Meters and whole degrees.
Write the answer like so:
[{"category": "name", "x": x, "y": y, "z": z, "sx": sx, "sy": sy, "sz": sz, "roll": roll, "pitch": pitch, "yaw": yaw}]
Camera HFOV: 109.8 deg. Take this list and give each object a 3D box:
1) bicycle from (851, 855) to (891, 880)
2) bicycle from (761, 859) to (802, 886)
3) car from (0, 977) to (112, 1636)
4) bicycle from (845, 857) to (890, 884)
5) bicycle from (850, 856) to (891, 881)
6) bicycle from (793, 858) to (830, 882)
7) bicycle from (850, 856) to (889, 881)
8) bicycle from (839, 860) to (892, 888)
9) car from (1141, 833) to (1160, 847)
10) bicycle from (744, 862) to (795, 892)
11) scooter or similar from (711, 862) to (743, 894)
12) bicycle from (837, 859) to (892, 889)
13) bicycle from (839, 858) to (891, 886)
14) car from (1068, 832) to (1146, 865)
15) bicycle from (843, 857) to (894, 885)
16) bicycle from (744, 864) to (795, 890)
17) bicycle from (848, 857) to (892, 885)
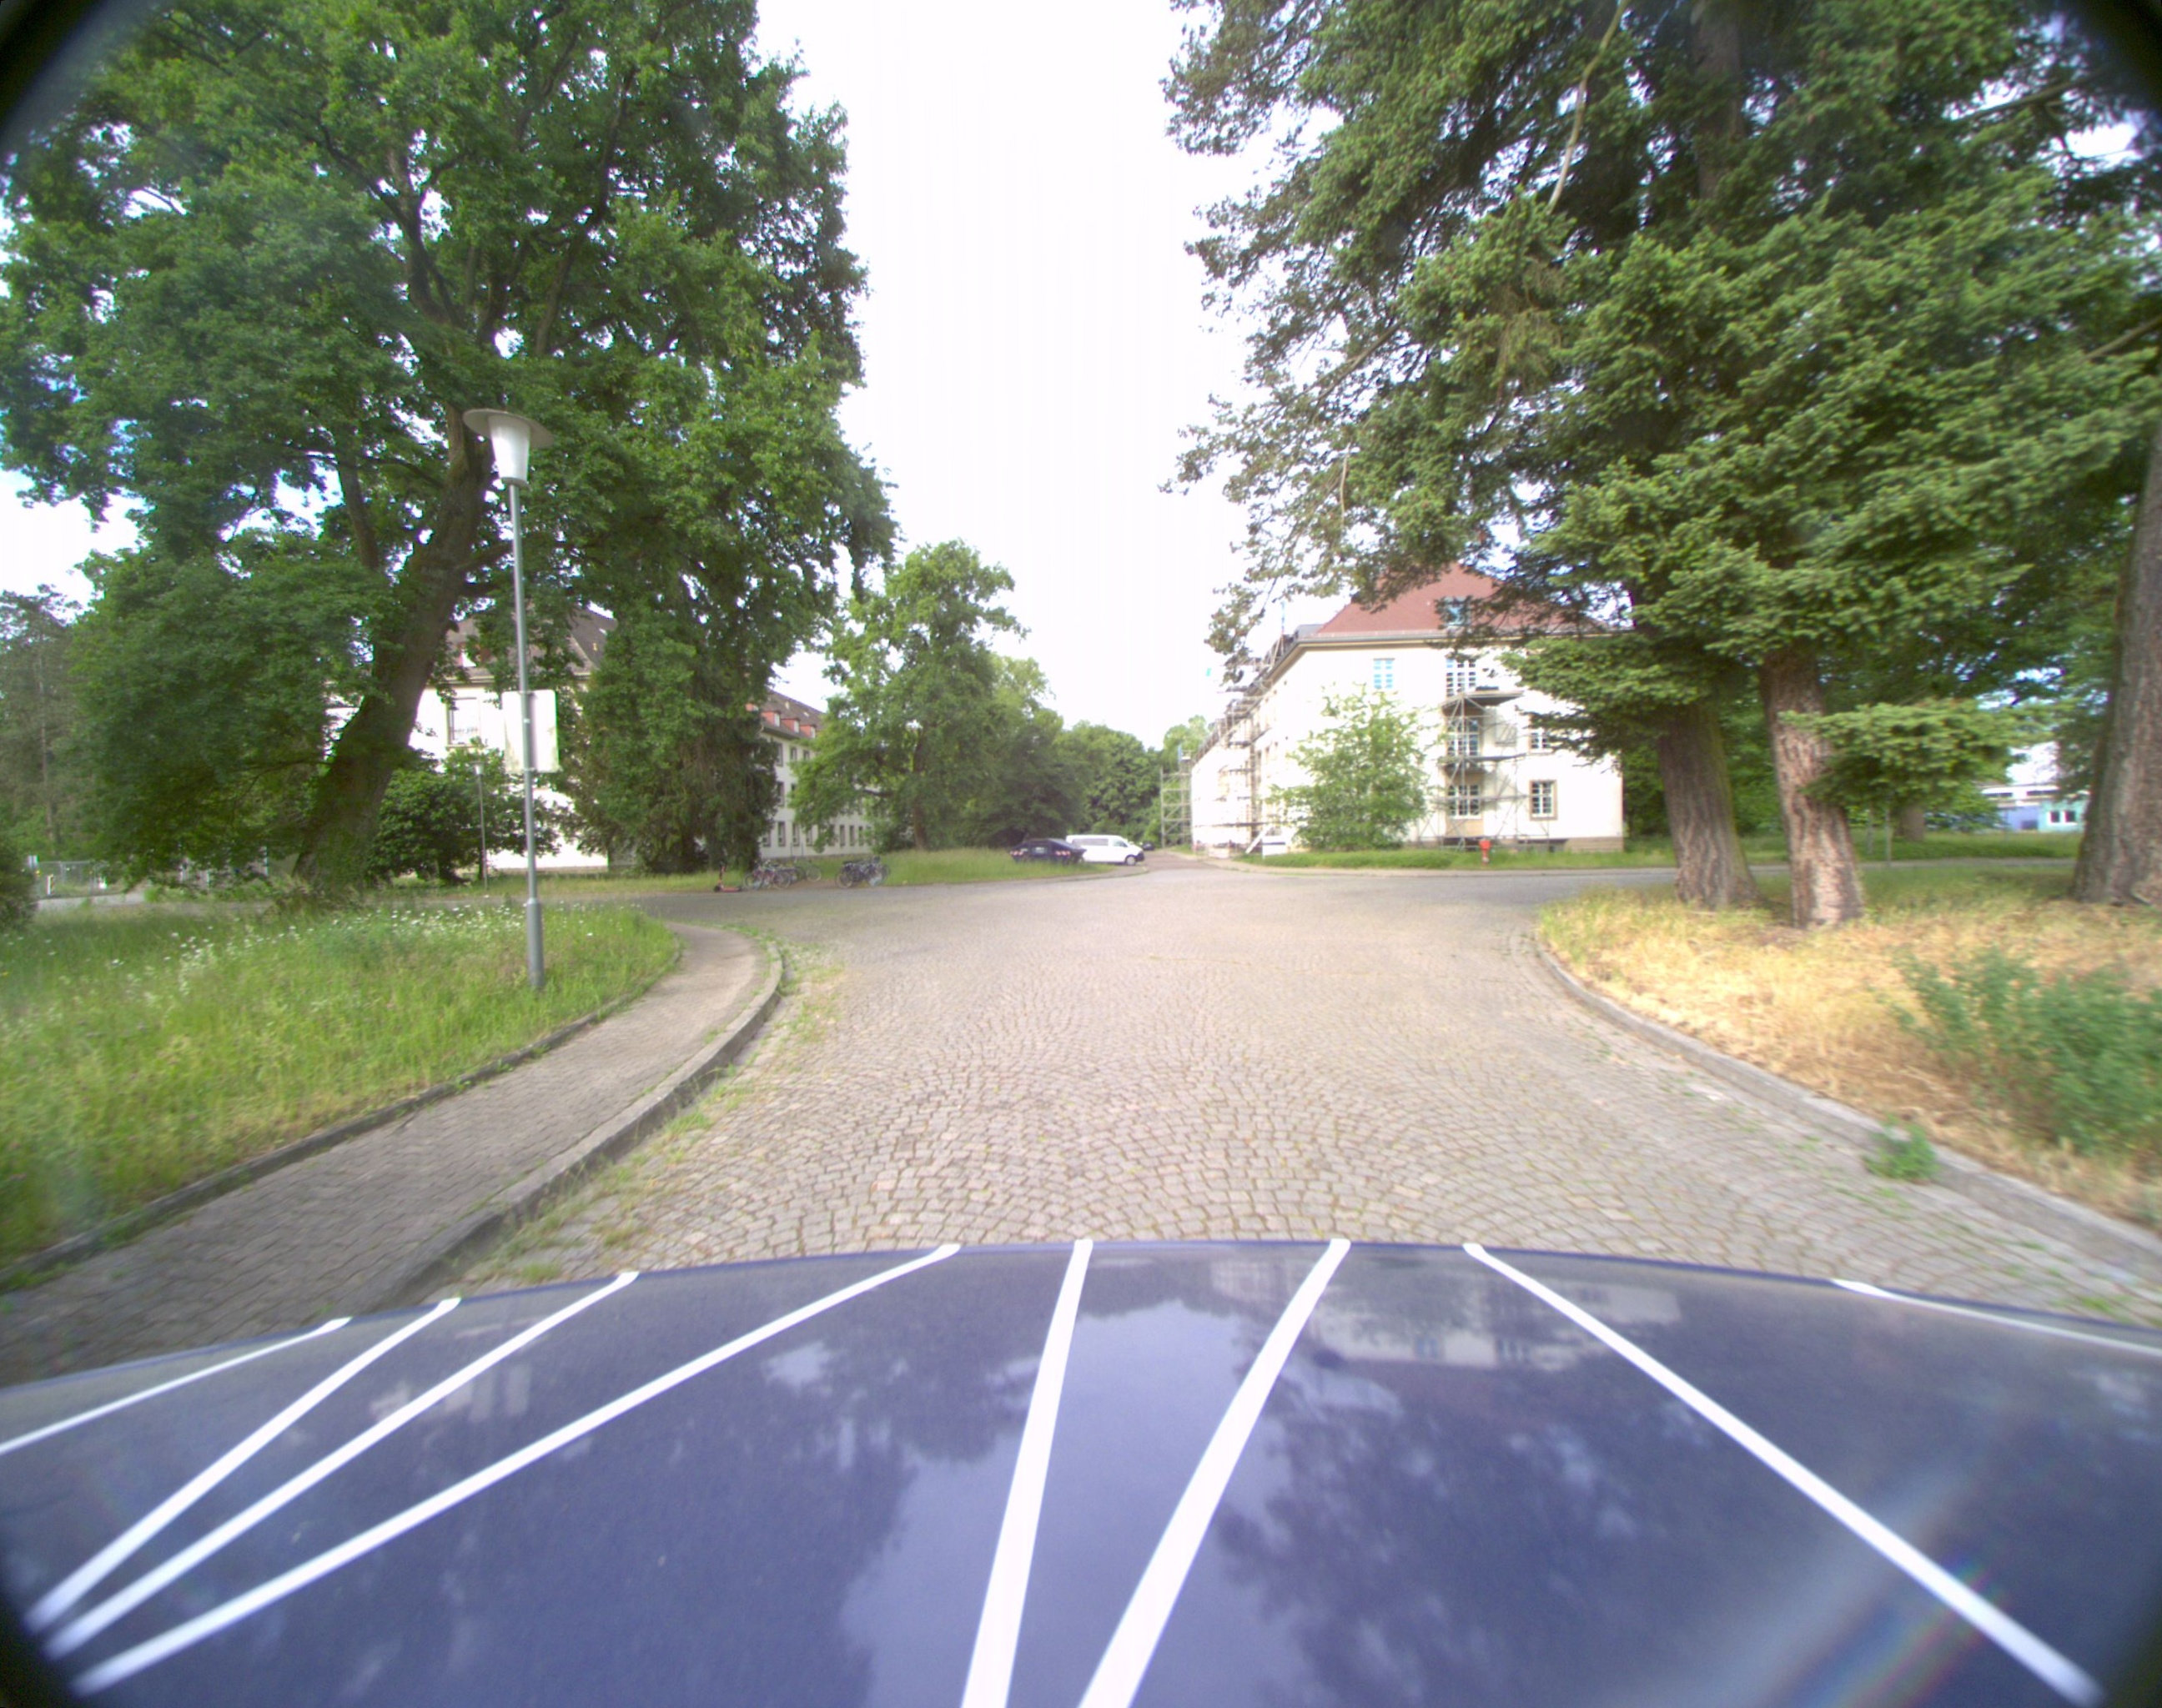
[{"category": "bicycle", "x": -10.210, "y": 0.649, "z": 36.999, "sx": 1.827, "sy": 1.082, "sz": 0.552, "roll": -2, "pitch": 4, "yaw": -19}, {"category": "bicycle", "x": -12.836, "y": 0.787, "z": 32.586, "sx": 1.568, "sy": 1.082, "sz": 0.561, "roll": -2, "pitch": 2, "yaw": -28}, {"category": "car", "x": -4.773, "y": 1.057, "z": 1.181, "sx": 4.514, "sy": 1.456, "sz": 1.896, "roll": 0, "pitch": 1, "yaw": 6}, {"category": "bicycle", "x": -9.441, "y": 0.715, "z": 33.613, "sx": 1.867, "sy": 1.082, "sz": 0.519, "roll": -2, "pitch": 4, "yaw": -19}, {"category": "bicycle", "x": -9.835, "y": 0.679, "z": 35.475, "sx": 1.809, "sy": 1.082, "sz": 0.552, "roll": -2, "pitch": 4, "yaw": -19}, {"category": "bicycle", "x": -12.388, "y": 0.719, "z": 34.983, "sx": 1.567, "sy": 1.028, "sz": 0.475, "roll": -2, "pitch": 2, "yaw": -21}, {"category": "bicycle", "x": -10.083, "y": 0.668, "z": 36.215, "sx": 1.752, "sy": 1.082, "sz": 0.552, "roll": -2, "pitch": 4, "yaw": -19}, {"category": "bicycle", "x": -8.602, "y": 0.781, "z": 30.352, "sx": 2.019, "sy": 1.004, "sz": 0.478, "roll": -2, "pitch": 4, "yaw": -19}, {"category": "car", "x": 10.504, "y": -2.108, "z": 115.493, "sx": 2.028, "sy": 1.915, "sz": 3.996, "roll": -2, "pitch": 1, "yaw": -8}, {"category": "bicycle", "x": -12.431, "y": 0.906, "z": 30.341, "sx": 1.815, "sy": 1.082, "sz": 0.478, "roll": -2, "pitch": 4, "yaw": -24}, {"category": "scooter or similar", "x": -13.800, "y": 0.939, "z": 29.626, "sx": 1.062, "sy": 1.188, "sz": 0.385, "roll": -1, "pitch": 2, "yaw": 6}, {"category": "bicycle", "x": -8.517, "y": 0.785, "z": 29.867, "sx": 2.019, "sy": 1.082, "sz": 0.478, "roll": -2, "pitch": 4, "yaw": -19}, {"category": "bicycle", "x": -8.921, "y": 0.730, "z": 31.438, "sx": 2.019, "sy": 1.082, "sz": 0.478, "roll": -2, "pitch": 4, "yaw": -19}, {"category": "car", "x": 1.677, "y": -0.388, "z": 49.654, "sx": 4.915, "sy": 1.983, "sz": 2.000, "roll": -2, "pitch": 1, "yaw": 0}, {"category": "bicycle", "x": -8.955, "y": 0.700, "z": 32.077, "sx": 2.019, "sy": 1.082, "sz": 0.478, "roll": -2, "pitch": 4, "yaw": -19}, {"category": "bicycle", "x": -12.646, "y": 0.920, "z": 30.856, "sx": 1.858, "sy": 0.984, "sz": 0.455, "roll": -2, "pitch": 2, "yaw": -24}, {"category": "bicycle", "x": -9.139, "y": 0.726, "z": 32.876, "sx": 1.790, "sy": 1.082, "sz": 0.478, "roll": -2, "pitch": 4, "yaw": -19}]
